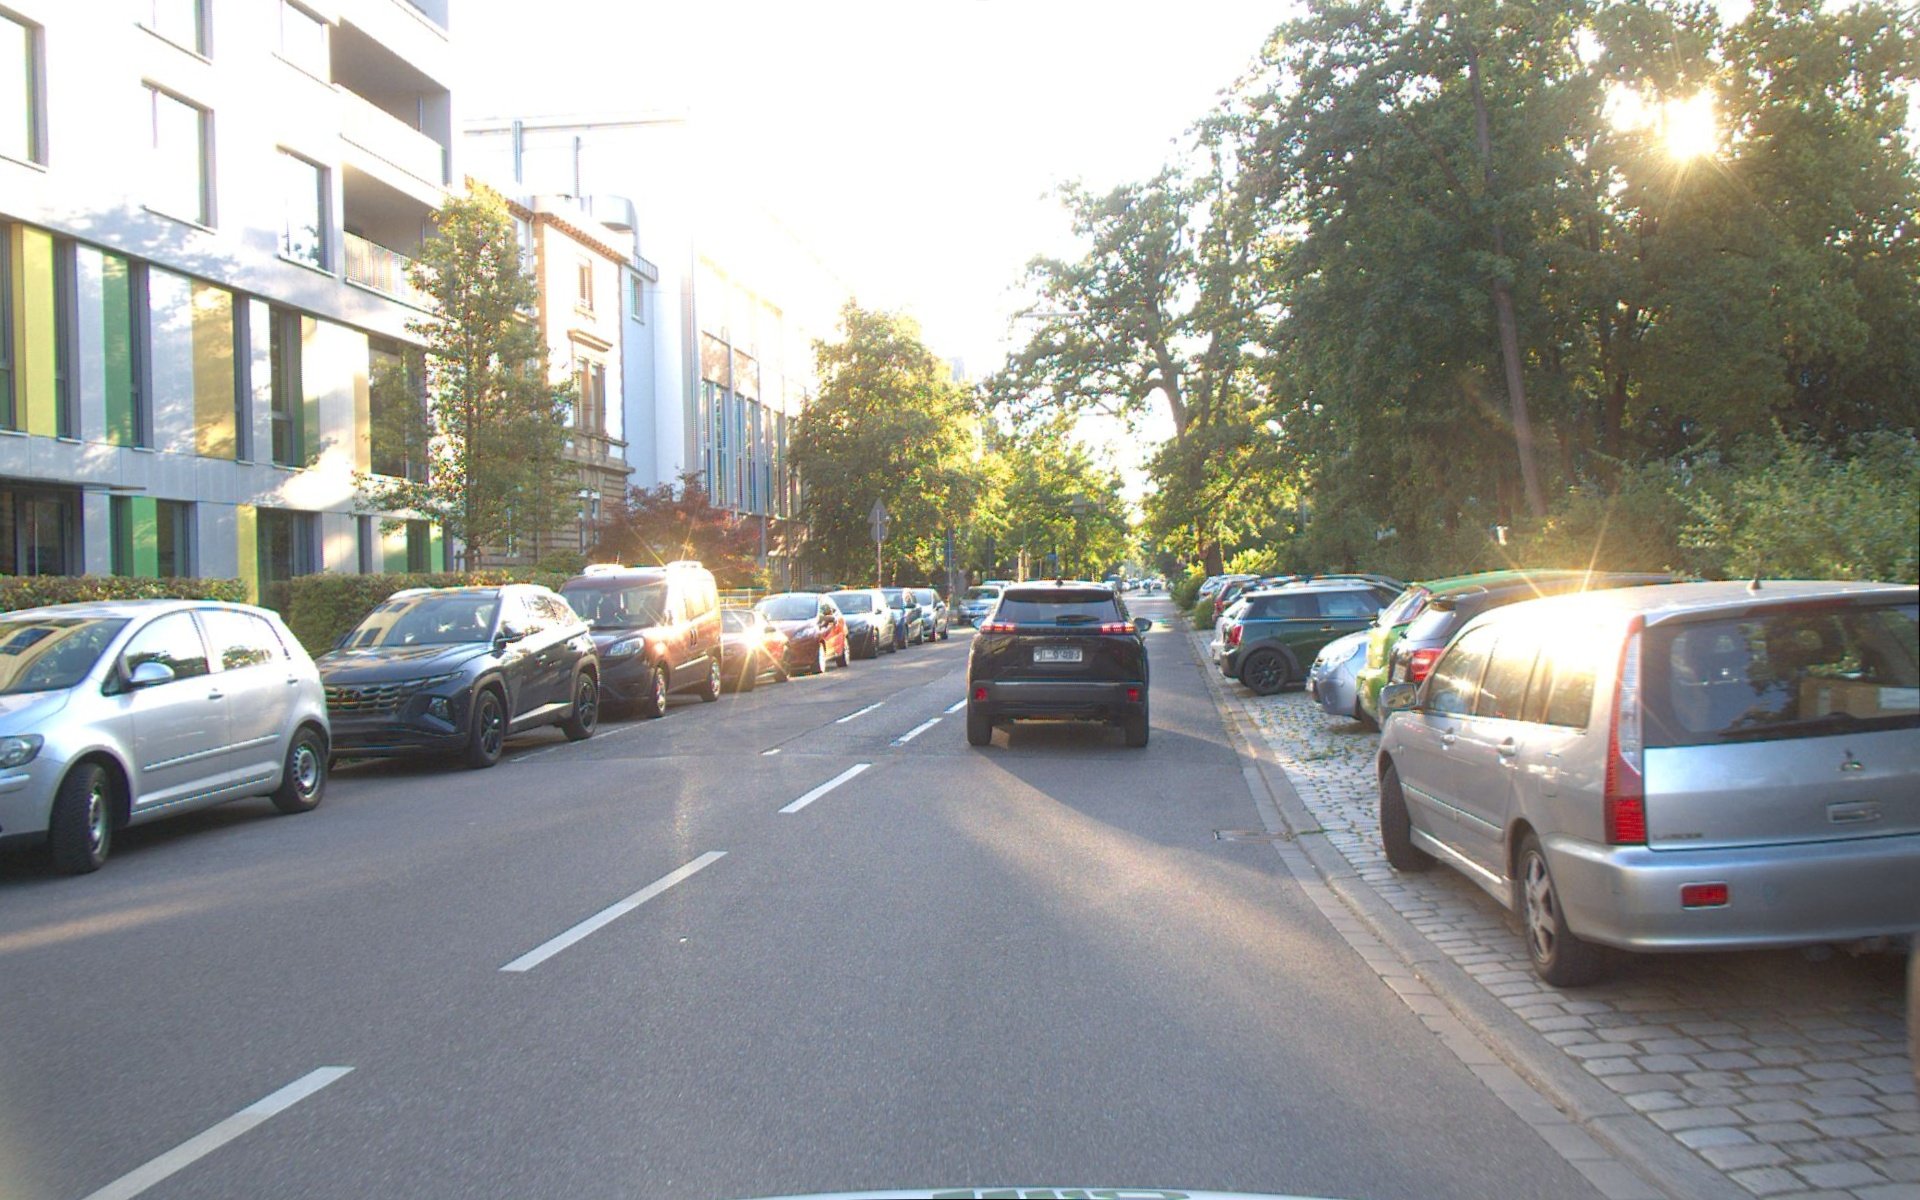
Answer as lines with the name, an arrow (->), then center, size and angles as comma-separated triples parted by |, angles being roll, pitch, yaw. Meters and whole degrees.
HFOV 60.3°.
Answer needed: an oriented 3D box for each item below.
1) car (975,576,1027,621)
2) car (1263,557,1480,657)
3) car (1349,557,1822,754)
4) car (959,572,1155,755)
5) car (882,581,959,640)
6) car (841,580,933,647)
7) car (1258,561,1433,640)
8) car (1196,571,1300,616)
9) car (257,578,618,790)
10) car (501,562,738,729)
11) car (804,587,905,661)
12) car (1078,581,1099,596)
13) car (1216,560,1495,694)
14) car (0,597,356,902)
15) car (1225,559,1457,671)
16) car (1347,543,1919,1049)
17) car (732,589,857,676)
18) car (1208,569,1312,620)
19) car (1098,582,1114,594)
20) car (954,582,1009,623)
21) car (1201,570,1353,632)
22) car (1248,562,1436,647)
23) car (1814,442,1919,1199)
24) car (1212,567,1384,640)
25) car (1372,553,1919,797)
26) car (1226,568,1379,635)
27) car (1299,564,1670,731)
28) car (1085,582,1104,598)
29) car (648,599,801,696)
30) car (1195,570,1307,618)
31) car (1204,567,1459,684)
car -> 1.769, -0.102, 69.940 | 1.643, 1.738, 4.344 | -3, 1, 8
car -> 7.621, 0.129, 30.935 | 3.646, 1.524, 1.821 | -5, -1, 7
car -> 5.312, 0.454, 14.434 | 3.549, 1.567, 1.673 | -1, 1, 7
car -> 1.047, 0.549, 16.641 | 1.731, 1.595, 3.383 | 2, 1, 6
car -> -1.075, 0.264, 46.828 | 1.567, 1.519, 3.775 | -3, 1, 8
car -> -1.820, 0.316, 42.378 | 1.564, 1.534, 3.791 | -3, 1, 9
car -> 8.957, 0.010, 38.687 | 3.727, 1.500, 1.833 | -5, -1, 7
car -> 11.679, -0.277, 66.963 | 4.081, 1.740, 1.869 | -1, 1, 11
car -> -4.930, 0.697, 16.331 | 1.705, 1.705, 4.420 | -3, 1, 6
car -> -4.352, 0.505, 21.833 | 1.769, 1.922, 4.241 | -3, 1, 6
car -> -2.335, 0.502, 37.459 | 1.564, 1.480, 4.058 | -3, 1, 6
car -> 11.851, -1.066, 152.738 | 1.773, 1.377, 4.001 | -2, 1, 2
car -> 5.516, 0.354, 23.404 | 3.534, 1.552, 1.673 | -5, 0, 5
car -> -5.730, 0.811, 10.822 | 1.705, 1.560, 4.118 | -2, 0, 5
car -> 6.465, 0.246, 28.395 | 3.589, 1.579, 1.736 | -5, 0, 5
car -> 3.015, 0.599, 7.447 | 1.616, 1.595, 4.302 | -2, 0, 2
car -> -3.065, 0.570, 31.338 | 1.564, 1.480, 3.864 | -2, 0, 6
car -> 10.821, -0.190, 59.791 | 3.513, 1.593, 1.820 | -3, -1, 6
car -> 17.900, -1.462, 202.558 | 1.772, 1.377, 4.002 | -2, 1, 3
car -> 0.872, 0.064, 64.403 | 1.635, 1.520, 4.064 | -1, 1, 8
car -> 9.353, 0.014, 49.054 | 4.246, 1.500, 1.744 | -4, 1, 8
car -> 8.227, 0.106, 35.928 | 3.727, 1.500, 1.758 | -5, -1, 7
car -> 2.978, 0.556, 1.410 | 1.883, 1.779, 4.664 | -2, 0, -3
car -> 8.412, 0.074, 41.444 | 4.033, 1.500, 1.833 | -4, 0, 8
car -> 5.082, 0.496, 11.920 | 3.865, 1.538, 1.741 | -2, 0, 6
car -> 9.125, 0.026, 44.322 | 3.841, 1.479, 1.833 | -4, 0, 8
car -> 5.275, 0.470, 16.970 | 3.314, 1.552, 1.672 | -2, 0, 5
car -> 12.912, -0.976, 158.905 | 1.772, 1.377, 4.002 | -2, 1, 3
car -> -3.708, 0.716, 26.648 | 1.523, 1.302, 3.736 | -3, 1, 6
car -> 10.928, -0.232, 62.278 | 4.034, 1.696, 1.724 | -1, 0, 7
car -> 5.715, 0.373, 25.786 | 3.589, 1.469, 1.736 | -5, 0, 5
